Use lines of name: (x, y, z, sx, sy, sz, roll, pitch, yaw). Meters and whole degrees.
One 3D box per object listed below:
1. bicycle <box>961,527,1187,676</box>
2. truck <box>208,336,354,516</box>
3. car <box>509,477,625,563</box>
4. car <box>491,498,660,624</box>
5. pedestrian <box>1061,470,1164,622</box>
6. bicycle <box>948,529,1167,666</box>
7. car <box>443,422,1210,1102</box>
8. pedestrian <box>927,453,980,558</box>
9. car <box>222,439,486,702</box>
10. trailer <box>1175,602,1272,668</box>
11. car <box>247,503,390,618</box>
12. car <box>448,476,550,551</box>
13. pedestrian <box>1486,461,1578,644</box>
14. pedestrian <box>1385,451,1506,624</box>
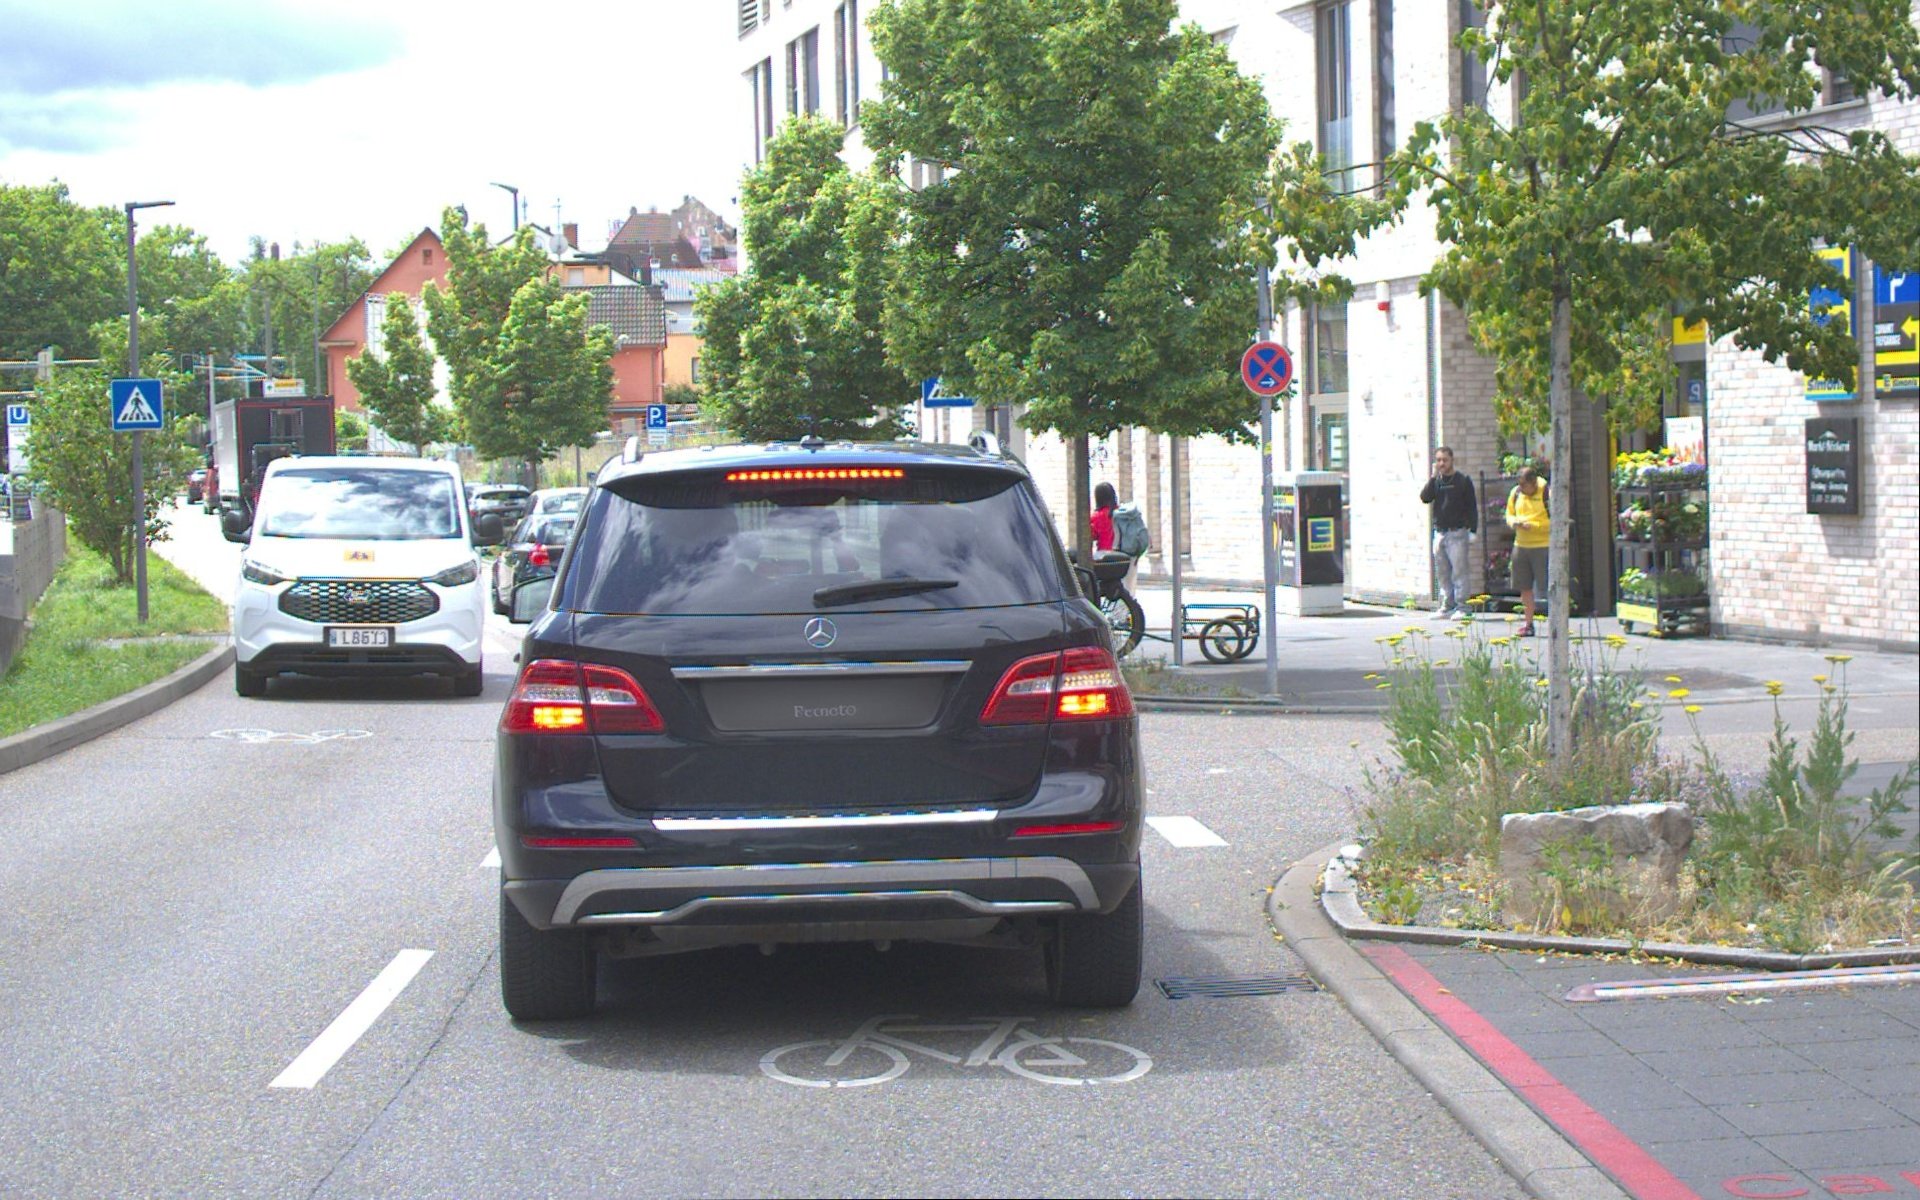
bicycle: (0.982, 0.001, 29.965, 1.822, 1.196, 0.756, -3, 2, -8)
truck: (-18.379, -4.554, 92.586, 3.202, 4.520, 9.031, -1, 1, -15)
car: (-7.419, -1.533, 64.657, 1.692, 1.478, 3.799, -3, 3, -13)
car: (-5.105, -0.553, 45.296, 1.726, 1.451, 3.810, -2, 3, -13)
pedestrian: (1.583, -0.563, 35.868, 0.812, 1.560, 0.930, 0, 0, -16)
bicycle: (0.867, -0.032, 30.788, 1.822, 1.127, 0.756, -3, 2, -8)
car: (-0.530, 0.356, 11.548, 1.993, 1.740, 4.533, -3, 2, -4)
pedestrian: (-0.095, -1.366, 49.462, 0.607, 1.467, 0.791, -3, 3, -7)
car: (-5.095, -0.297, 29.215, 1.993, 2.007, 5.396, 0, 2, -9)
trailer: (2.293, 0.301, 29.944, 0.719, 0.526, 0.812, -1, 1, -4)
car: (-8.662, -0.572, 46.224, 1.772, 1.459, 4.236, 0, 2, -12)
car: (-9.914, -1.882, 73.676, 1.692, 1.456, 4.148, -3, 3, -13)
pedestrian: (5.344, -0.447, 32.104, 0.658, 1.686, 0.631, -1, 2, 26)
pedestrian: (4.999, -0.652, 35.434, 1.014, 1.735, 0.660, -2, 2, -18)
